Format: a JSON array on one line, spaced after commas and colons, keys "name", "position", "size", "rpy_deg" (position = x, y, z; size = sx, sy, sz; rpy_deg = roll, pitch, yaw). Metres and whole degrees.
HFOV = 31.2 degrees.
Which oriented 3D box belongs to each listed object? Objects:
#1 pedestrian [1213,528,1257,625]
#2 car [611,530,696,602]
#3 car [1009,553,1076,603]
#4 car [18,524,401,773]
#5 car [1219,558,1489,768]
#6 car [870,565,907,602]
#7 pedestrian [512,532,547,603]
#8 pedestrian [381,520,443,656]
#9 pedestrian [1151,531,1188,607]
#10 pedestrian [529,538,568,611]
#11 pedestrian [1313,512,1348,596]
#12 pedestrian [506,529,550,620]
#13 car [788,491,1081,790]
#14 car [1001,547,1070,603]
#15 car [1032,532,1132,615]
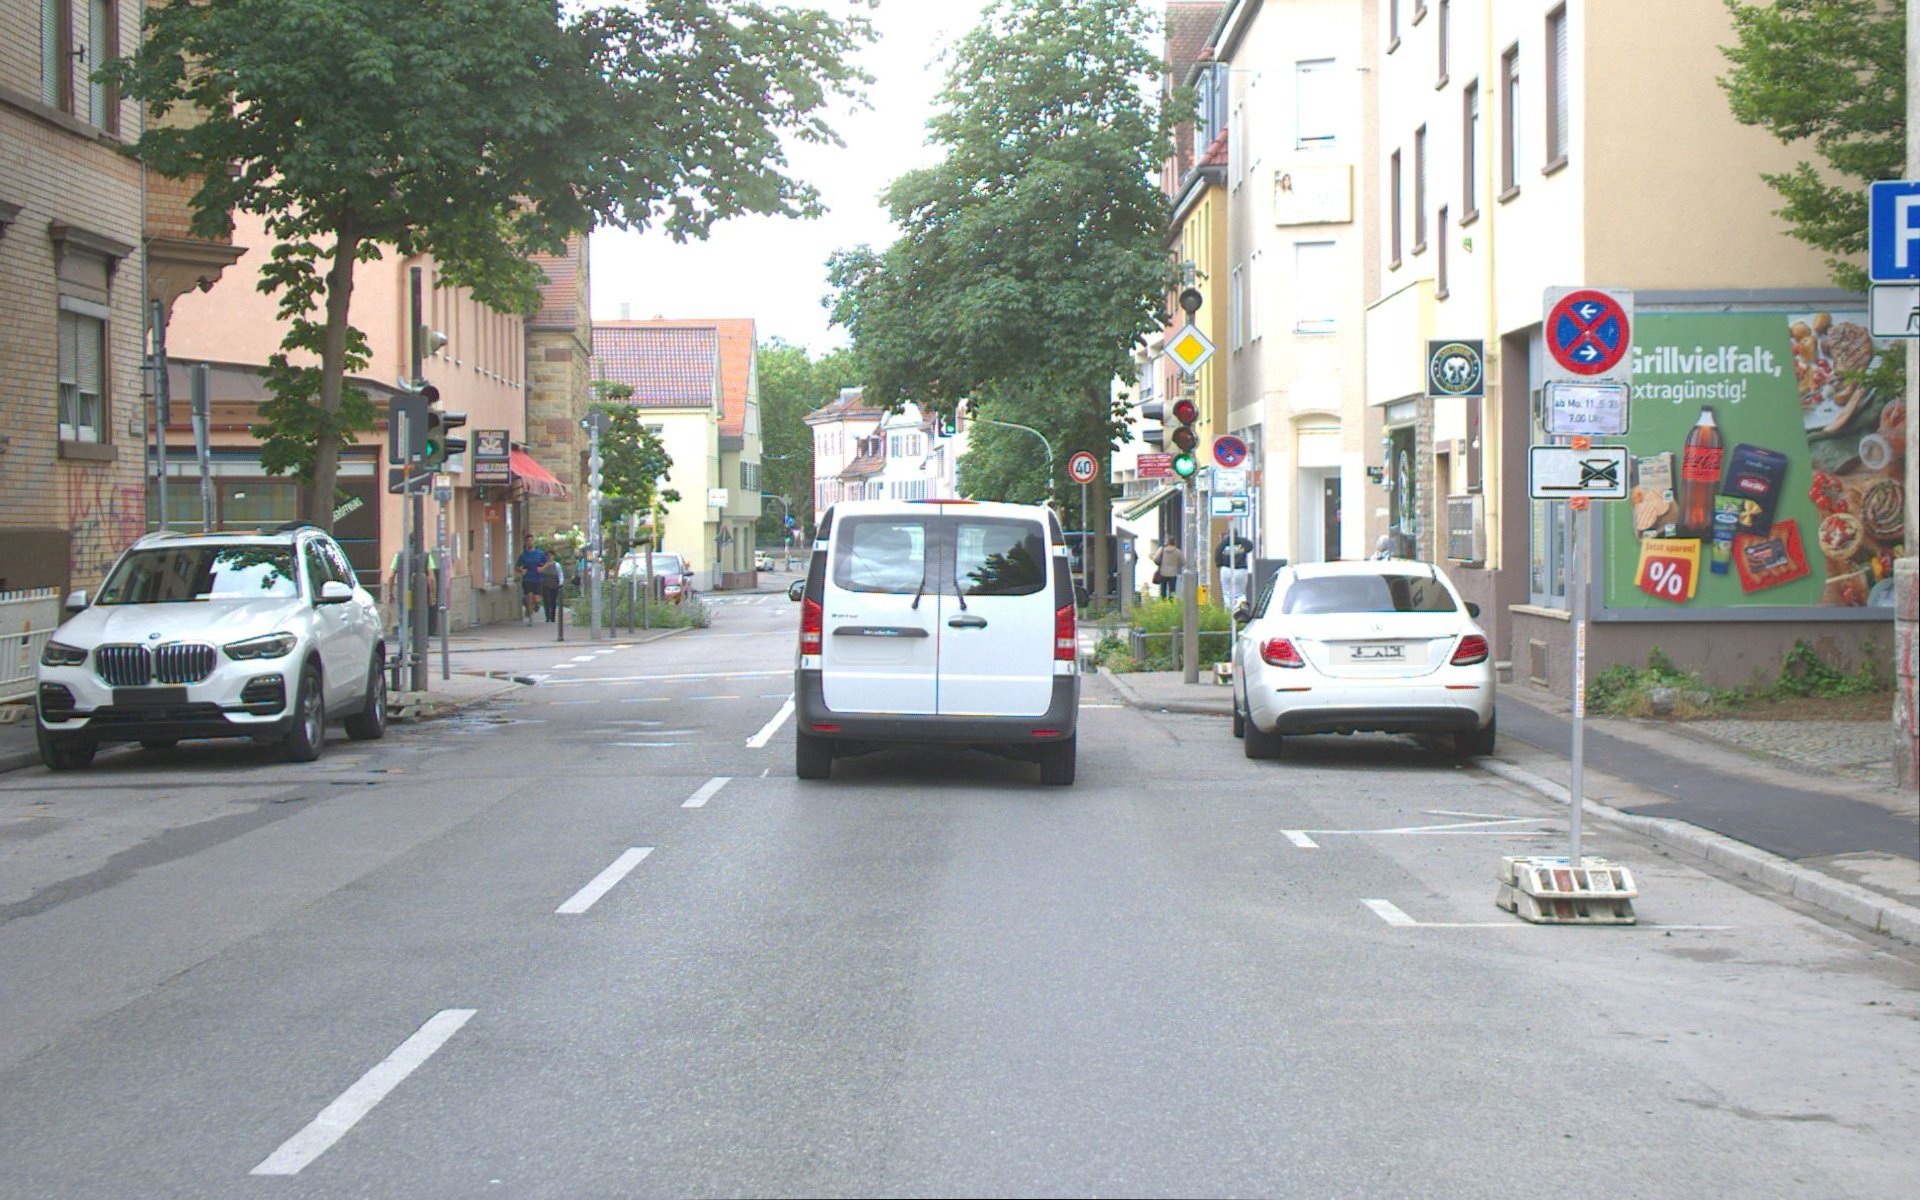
[{"name": "pedestrian", "position": [4.727, -0.415, 59.111], "size": [0.614, 1.647, 0.983], "rpy_deg": [1, 1, -2]}, {"name": "car", "position": [-7.196, -0.824, 80.998], "size": [1.702, 1.568, 4.451], "rpy_deg": [-2, 1, -2]}, {"name": "car", "position": [2.228, -0.610, 93.174], "size": [1.551, 1.328, 3.813], "rpy_deg": [0, 1, -2]}, {"name": "car", "position": [-5.731, 0.303, 26.851], "size": [1.891, 1.706, 4.741], "rpy_deg": [-2, 1, 0]}, {"name": "car", "position": [2.982, 0.416, 26.841], "size": [1.767, 1.461, 4.783], "rpy_deg": [0, 1, 3]}, {"name": "car", "position": [-3.929, -0.898, 188.808], "size": [1.934, 2.007, 4.000], "rpy_deg": [1, 0, -3]}, {"name": "pedestrian", "position": [-9.858, -0.751, 78.699], "size": [0.730, 1.623, 0.759], "rpy_deg": [0, 1, -10]}, {"name": "pedestrian", "position": [-7.166, -0.166, 44.973], "size": [0.738, 1.748, 0.983], "rpy_deg": [0, 1, -6]}, {"name": "pedestrian", "position": [4.635, -0.690, 76.134], "size": [0.701, 1.643, 0.889], "rpy_deg": [-1, 1, -2]}, {"name": "pedestrian", "position": [-8.708, -0.547, 72.773], "size": [0.738, 1.529, 0.983], "rpy_deg": [0, 1, -2]}, {"name": "pedestrian", "position": [6.910, -0.861, 64.059], "size": [0.567, 1.555, 0.521], "rpy_deg": [1, 0, -1]}, {"name": "pedestrian", "position": [-8.263, -0.496, 65.807], "size": [0.738, 1.712, 1.157], "rpy_deg": [0, 1, -3]}, {"name": "car", "position": [-0.185, 0.227, 23.960], "size": [1.872, 1.905, 4.000], "rpy_deg": [0, 1, -1]}, {"name": "car", "position": [2.123, -0.716, 97.768], "size": [1.711, 1.555, 3.786], "rpy_deg": [0, 0, -2]}, {"name": "car", "position": [2.660, -0.577, 75.750], "size": [1.819, 1.775, 4.404], "rpy_deg": [0, 0, -3]}]
